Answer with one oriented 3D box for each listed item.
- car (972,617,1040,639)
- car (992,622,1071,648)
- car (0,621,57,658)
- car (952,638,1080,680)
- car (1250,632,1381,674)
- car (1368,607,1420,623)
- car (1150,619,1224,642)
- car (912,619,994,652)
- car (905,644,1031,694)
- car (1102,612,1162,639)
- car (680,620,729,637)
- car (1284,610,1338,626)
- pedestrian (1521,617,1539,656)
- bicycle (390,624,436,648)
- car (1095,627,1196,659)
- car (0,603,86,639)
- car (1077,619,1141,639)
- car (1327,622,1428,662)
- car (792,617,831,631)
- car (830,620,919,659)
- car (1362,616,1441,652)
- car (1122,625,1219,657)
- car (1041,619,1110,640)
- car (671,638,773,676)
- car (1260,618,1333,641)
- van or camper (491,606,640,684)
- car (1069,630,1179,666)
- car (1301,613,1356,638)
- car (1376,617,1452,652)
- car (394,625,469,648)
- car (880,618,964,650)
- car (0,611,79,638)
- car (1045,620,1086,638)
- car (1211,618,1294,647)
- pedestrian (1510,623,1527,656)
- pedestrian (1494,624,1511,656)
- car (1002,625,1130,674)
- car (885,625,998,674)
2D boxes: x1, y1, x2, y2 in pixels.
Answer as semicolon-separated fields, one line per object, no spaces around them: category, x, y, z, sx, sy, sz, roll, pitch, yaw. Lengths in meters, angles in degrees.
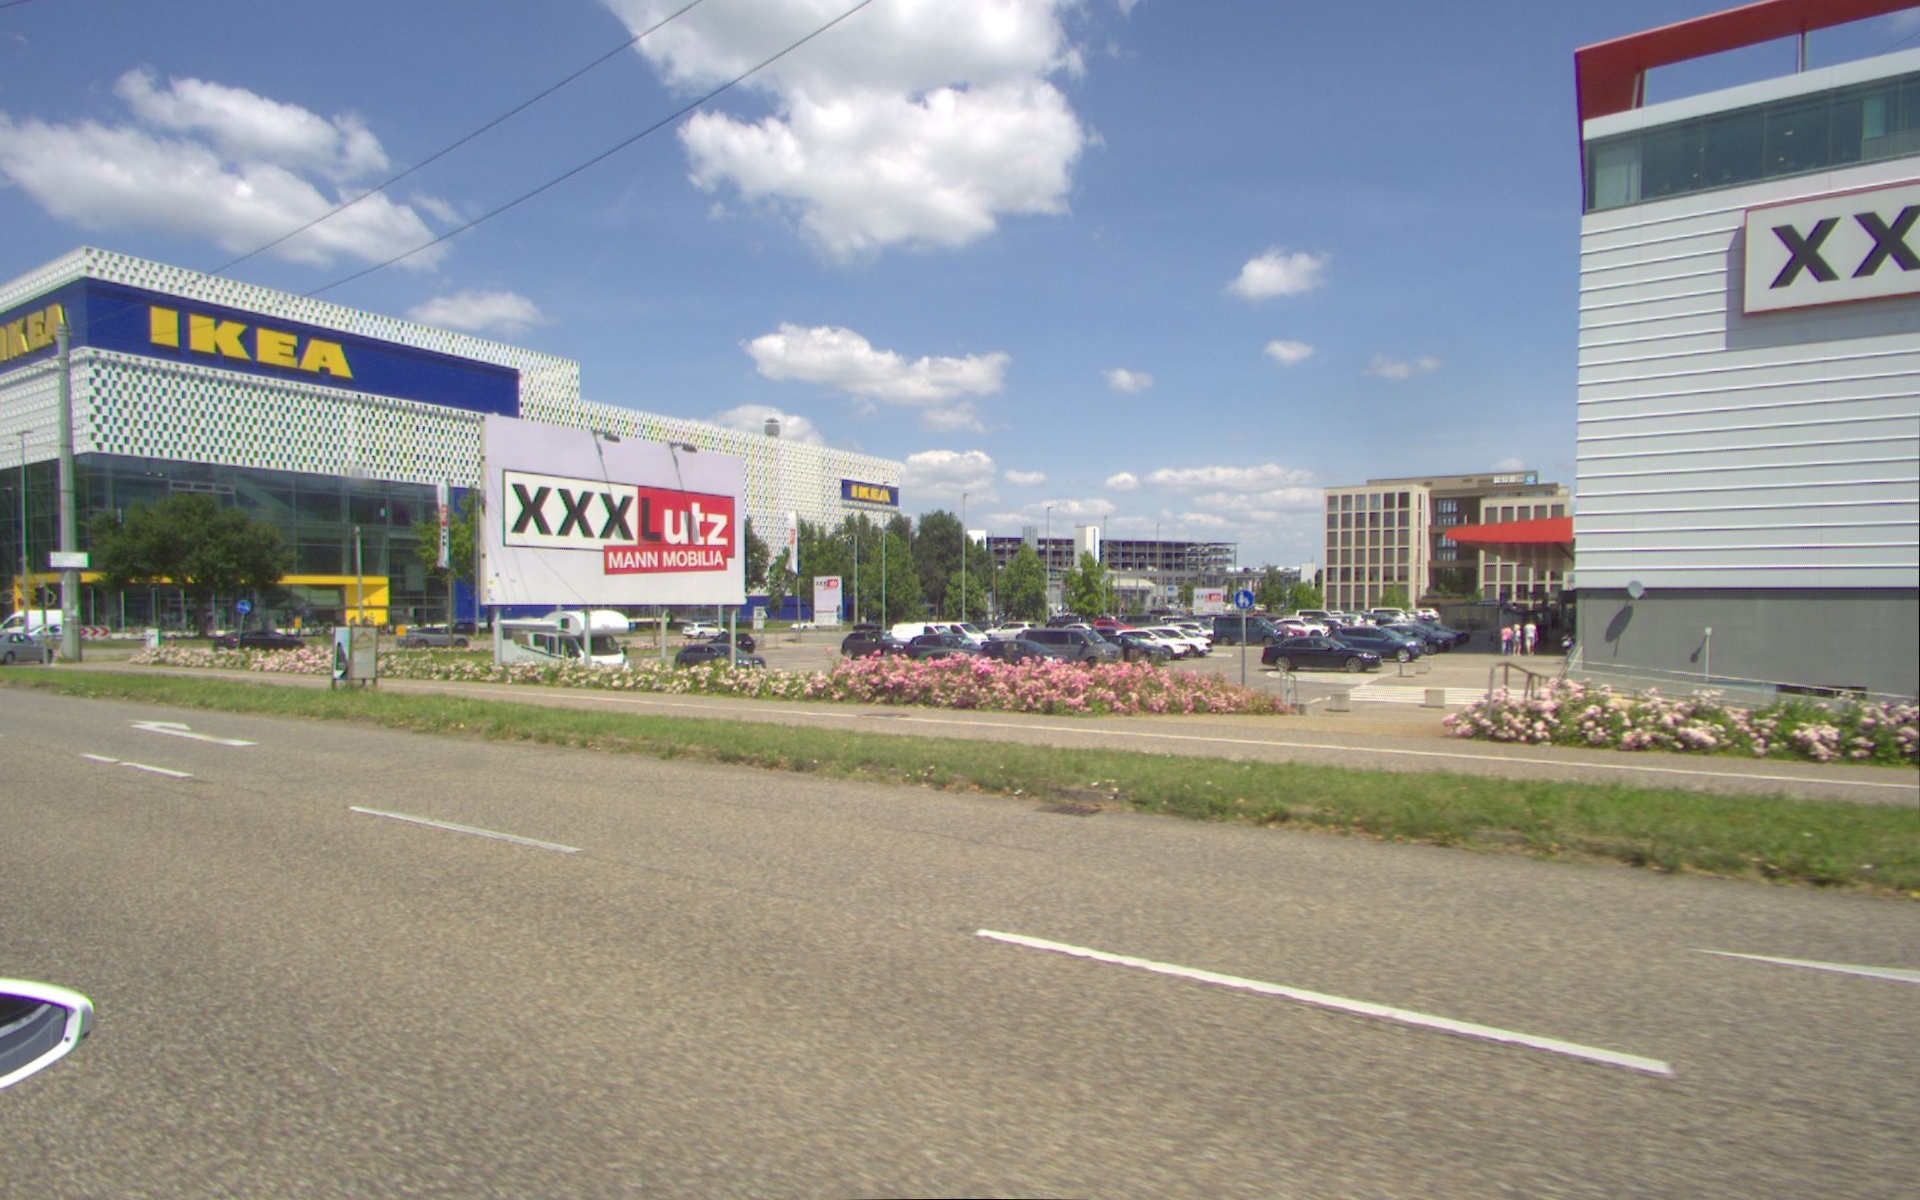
car;3.579;2.199;78.431;4.921;1.631;1.993;0;-1;27
car;4.737;2.317;66.575;4.929;1.631;1.990;0;-1;33
car;-40.743;1.633;42.465;1.965;1.505;4.160;2;-2;-16
car;2.260;2.372;40.959;4.929;1.570;1.990;0;-1;33
car;15.088;2.210;42.600;4.929;1.631;1.990;0;-1;33
car;47.152;1.656;108.836;4.929;1.631;1.990;0;-1;33
car;16.663;2.212;73.529;4.929;1.631;1.990;0;-1;33
car;-0.478;2.225;63.860;4.929;2.033;1.990;0;-1;33
car;0.274;2.480;36.793;4.242;1.517;1.988;0;2;33
car;15.237;2.235;88.724;4.929;2.333;1.990;0;-1;33
car;-24.147;2.674;94.662;1.970;1.505;4.371;0;-2;31
car;36.341;1.829;103.755;4.929;1.631;1.990;0;-1;33
pedestrian;27.918;1.782;49.038;0.725;1.893;0.740;0;-1;30
bicycle;-34.686;2.276;63.523;0.976;1.500;2.415;0;-1;37
car;9.901;2.271;53.579;4.929;1.631;1.990;0;-1;33
car;-61.534;1.412;66.783;4.719;2.339;1.985;1;-1;-38
car;12.575;2.468;84.643;4.929;1.631;1.990;0;-1;33
car;20.253;2.021;48.580;4.271;1.804;1.990;0;-2;33
car;-17.461;2.849;117.800;1.973;1.505;4.486;0;-2;36
car;-4.942;2.229;57.817;4.929;2.162;1.990;0;-1;33
car;25.591;1.960;58.035;3.943;2.039;1.990;0;-1;32
car;11.693;2.247;55.744;4.929;1.672;1.990;0;-1;33
car;8.999;2.295;78.174;4.929;1.631;1.990;0;-1;33
car;-11.209;2.642;47.122;4.701;1.558;1.989;0;0;33
car;25.506;2.216;75.951;4.929;1.631;1.990;0;-1;33
van or camper;-16.833;1.825;42.544;7.129;3.059;2.499;-1;-1;36
car;8.008;2.331;49.070;4.929;1.631;1.990;0;-1;33
car;30.334;2.117;82.390;3.943;2.040;1.990;-1;-1;32
car;27.246;2.047;60.076;3.943;2.040;1.990;-1;-1;32
car;-36.106;2.530;68.466;1.972;1.505;4.125;0;-2;33
car;-2.377;2.078;62.020;4.929;1.876;1.990;0;-1;33
car;-55.763;1.448;59.699;1.973;1.505;4.486;0;-2;36
car;11.410;3.116;108.297;3.942;1.863;1.818;0;0;32
car;19.768;2.159;67.760;5.106;1.889;1.991;0;-1;31
pedestrian;26.943;1.917;48.310;0.725;1.578;0.740;0;-1;30
pedestrian;26.826;1.959;49.542;0.725;1.578;0.740;0;-1;30
car;4.727;2.174;45.078;5.456;2.039;1.990;0;-1;33
car;-0.883;2.225;46.031;4.929;2.041;1.989;0;1;33
